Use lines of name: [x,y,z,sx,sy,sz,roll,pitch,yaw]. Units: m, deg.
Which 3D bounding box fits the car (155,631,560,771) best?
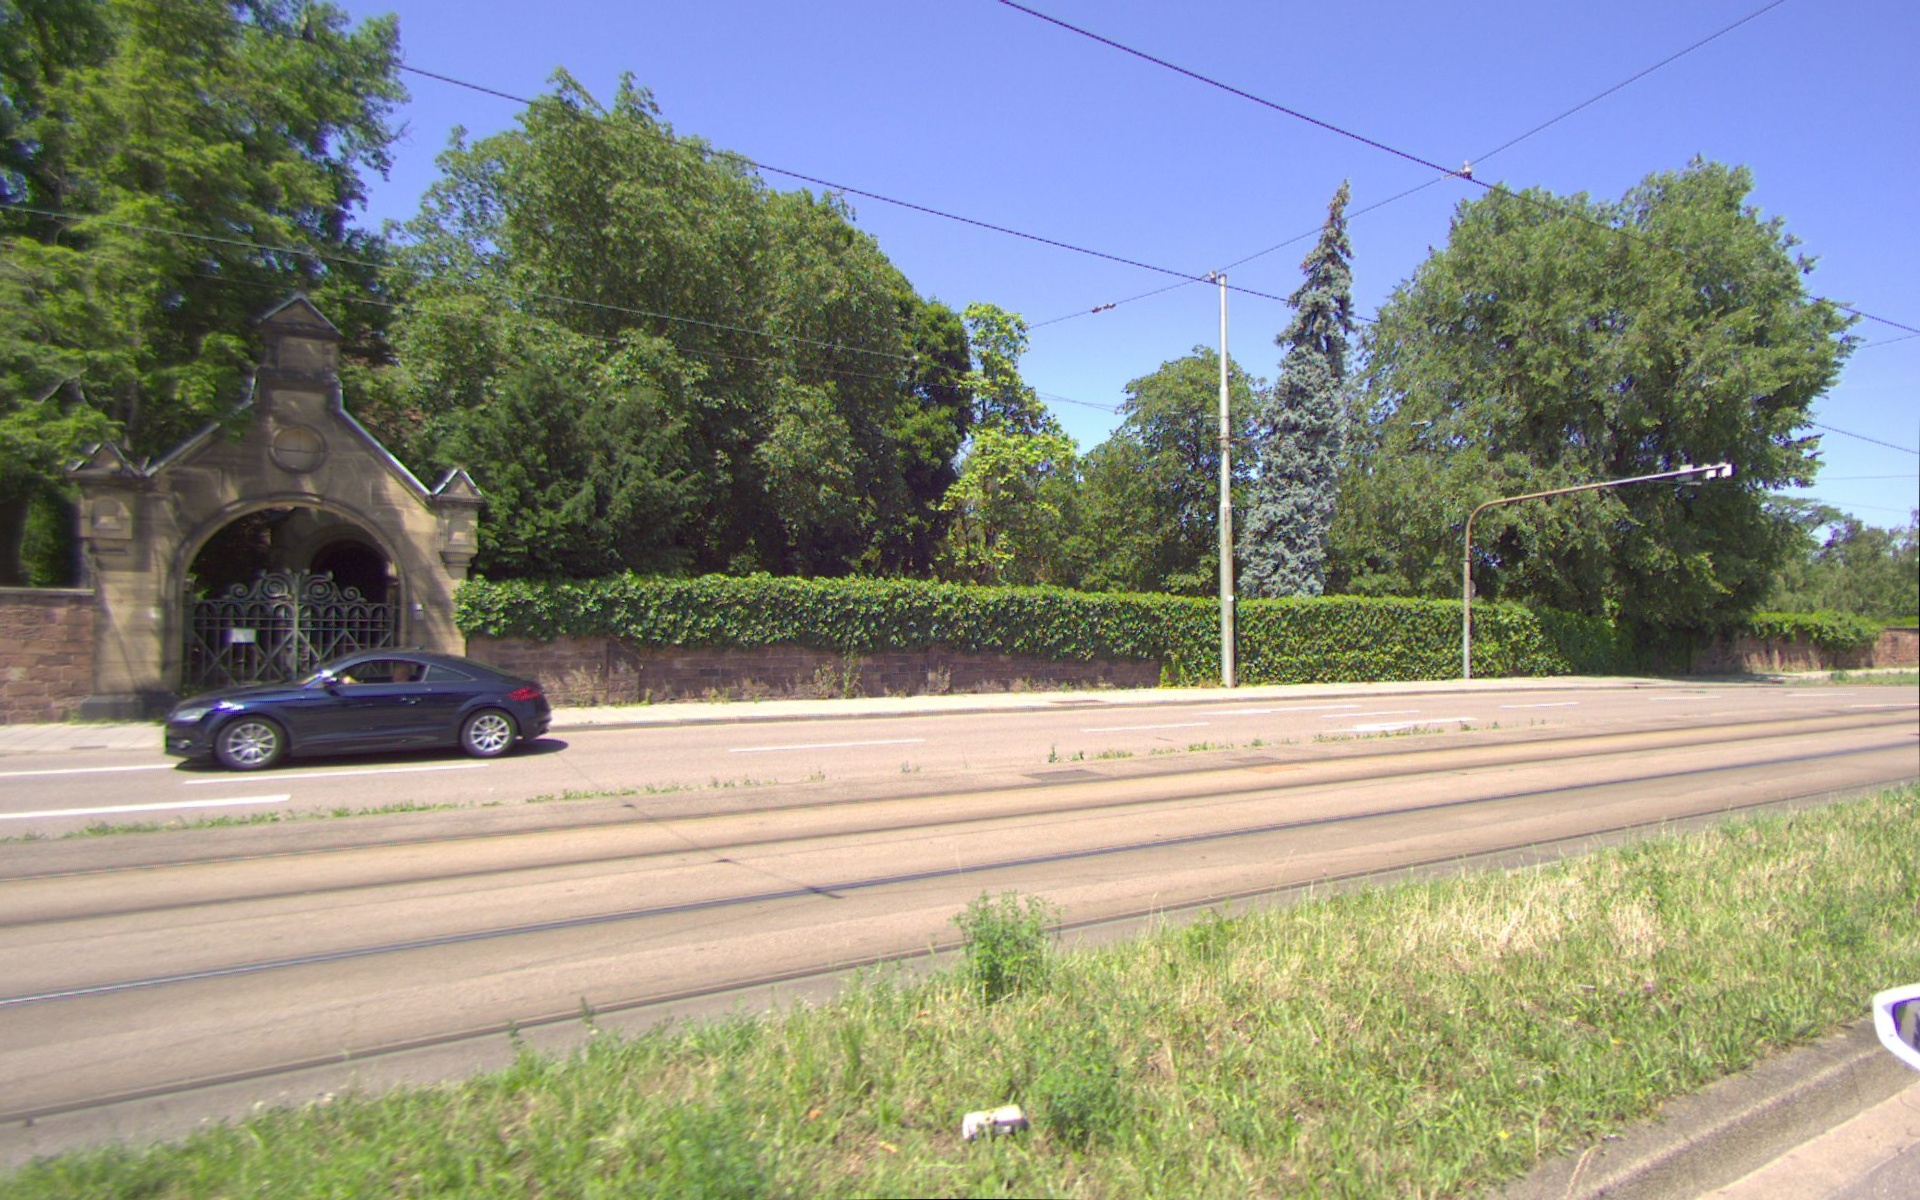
car: [-7.306,1.161,12.603,4.072,1.468,1.748,1,-1,-29]
